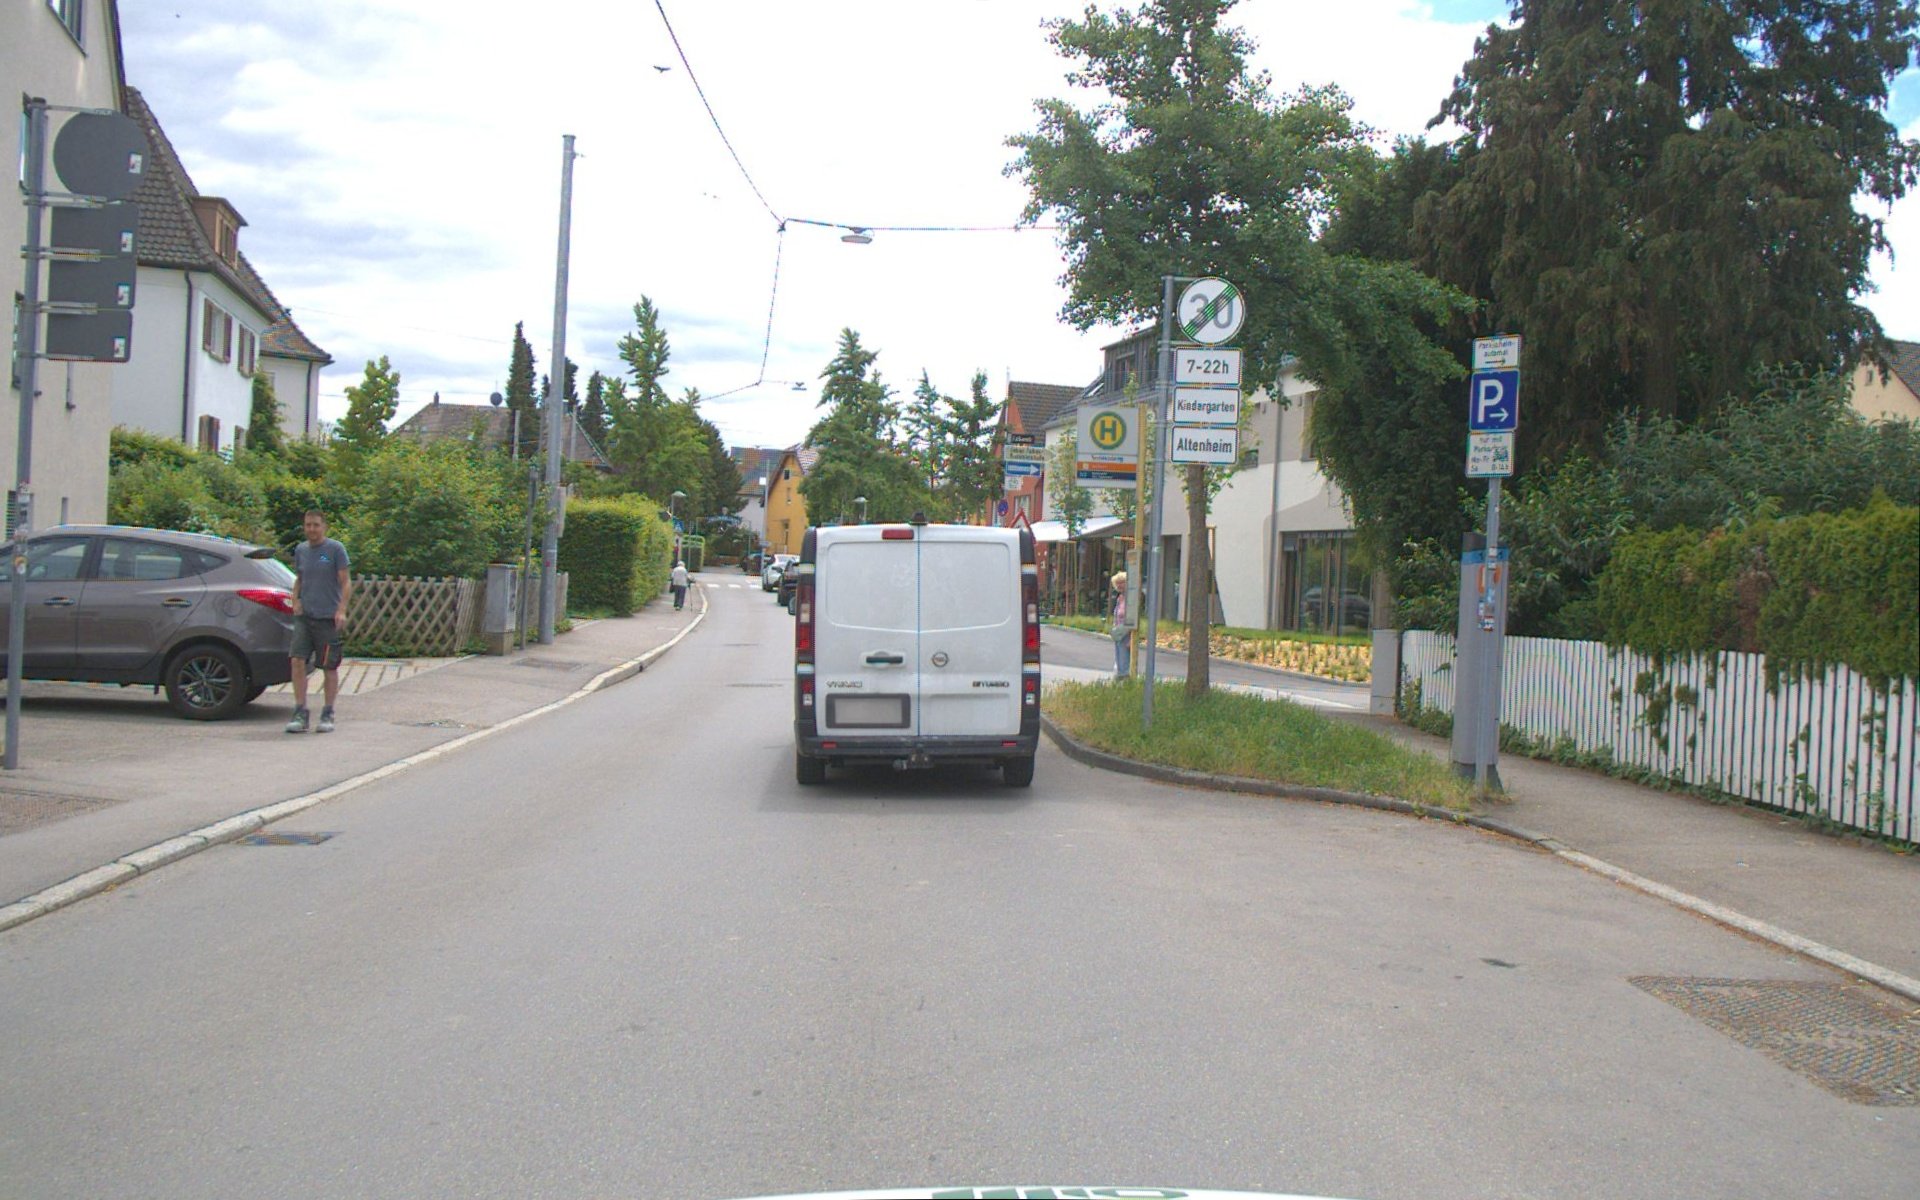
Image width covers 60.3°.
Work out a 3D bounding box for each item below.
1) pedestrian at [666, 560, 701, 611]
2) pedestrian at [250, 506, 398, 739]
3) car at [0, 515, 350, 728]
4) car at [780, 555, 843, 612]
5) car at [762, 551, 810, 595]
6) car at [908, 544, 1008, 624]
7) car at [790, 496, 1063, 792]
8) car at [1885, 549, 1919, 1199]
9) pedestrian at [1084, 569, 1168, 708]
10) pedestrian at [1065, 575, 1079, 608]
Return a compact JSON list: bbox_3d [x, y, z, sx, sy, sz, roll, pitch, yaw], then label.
[{"bbox_3d":[-8.486,-0.439,50.770,0.866,1.510,0.451,4,0,-28],"label":"pedestrian"},{"bbox_3d":[-5.735,0.194,14.983,0.718,1.979,1.217,4,0,0],"label":"pedestrian"},{"bbox_3d":[-8.164,0.135,15.595,4.240,1.725,1.791,5,0,-15],"label":"car"},{"bbox_3d":[-5.242,-0.588,57.844,1.956,1.880,3.993,2,1,-8],"label":"car"},{"bbox_3d":[-7.730,-1.189,73.277,1.956,1.813,3.993,1,1,-8],"label":"car"},{"bbox_3d":[-0.124,-0.448,45.717,1.922,1.949,4.892,4,0,-9],"label":"car"},{"bbox_3d":[-0.449,0.306,13.870,1.879,2.037,4.432,2,0,-6],"label":"car"},{"bbox_3d":[2.830,0.733,1.362,1.724,1.610,4.016,1,0,-3],"label":"car"},{"bbox_3d":[2.102,0.475,21.092,0.837,1.673,0.883,4,0,-2],"label":"pedestrian"},{"bbox_3d":[4.124,-0.304,61.035,0.413,1.202,0.323,2,0,-10],"label":"pedestrian"}]
